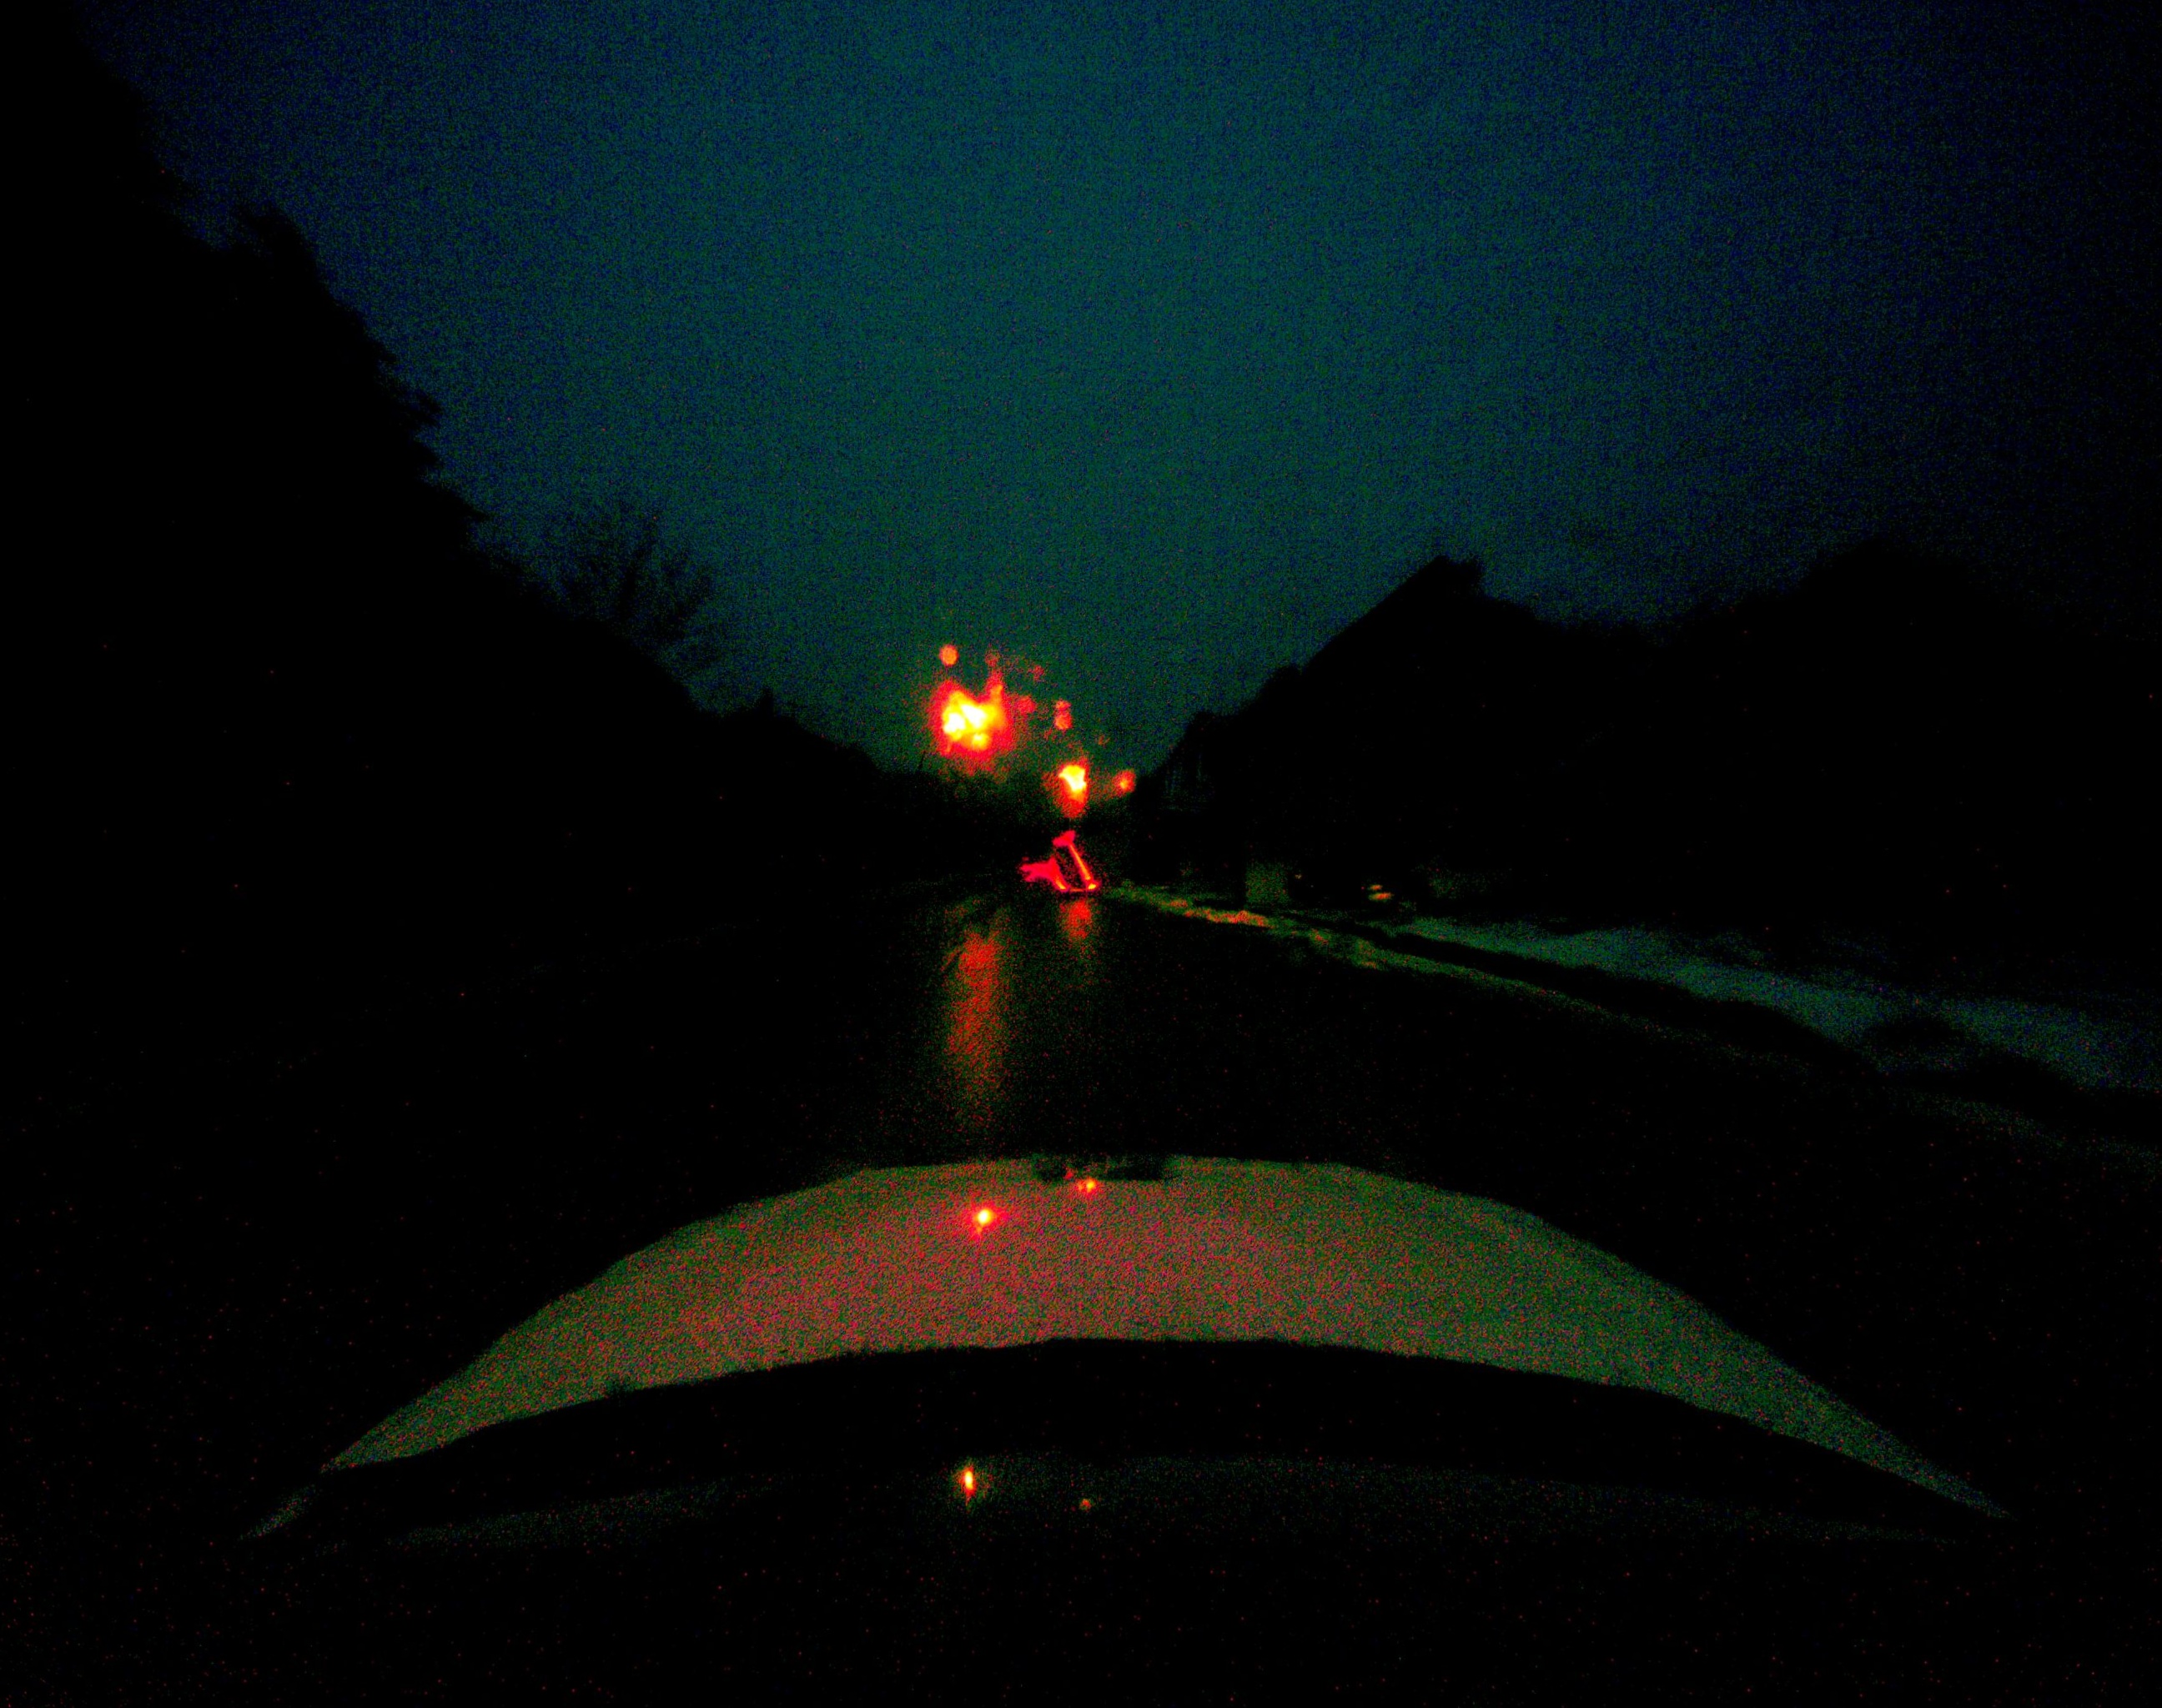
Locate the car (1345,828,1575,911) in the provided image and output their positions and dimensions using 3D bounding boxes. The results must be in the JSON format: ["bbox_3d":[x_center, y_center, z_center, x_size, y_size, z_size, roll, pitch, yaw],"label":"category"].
[{"bbox_3d":[8.141,0.385,17.943,4.214,1.559,2.006,-2,-3,12],"label":"car"}]

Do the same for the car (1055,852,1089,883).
[{"bbox_3d":[-0.597,0.869,51.231,1.989,1.737,3.873,-2,-3,-3],"label":"car"}]

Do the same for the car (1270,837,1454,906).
[{"bbox_3d":[7.106,0.484,20.984,4.136,1.559,1.949,-2,-3,7],"label":"car"}]
